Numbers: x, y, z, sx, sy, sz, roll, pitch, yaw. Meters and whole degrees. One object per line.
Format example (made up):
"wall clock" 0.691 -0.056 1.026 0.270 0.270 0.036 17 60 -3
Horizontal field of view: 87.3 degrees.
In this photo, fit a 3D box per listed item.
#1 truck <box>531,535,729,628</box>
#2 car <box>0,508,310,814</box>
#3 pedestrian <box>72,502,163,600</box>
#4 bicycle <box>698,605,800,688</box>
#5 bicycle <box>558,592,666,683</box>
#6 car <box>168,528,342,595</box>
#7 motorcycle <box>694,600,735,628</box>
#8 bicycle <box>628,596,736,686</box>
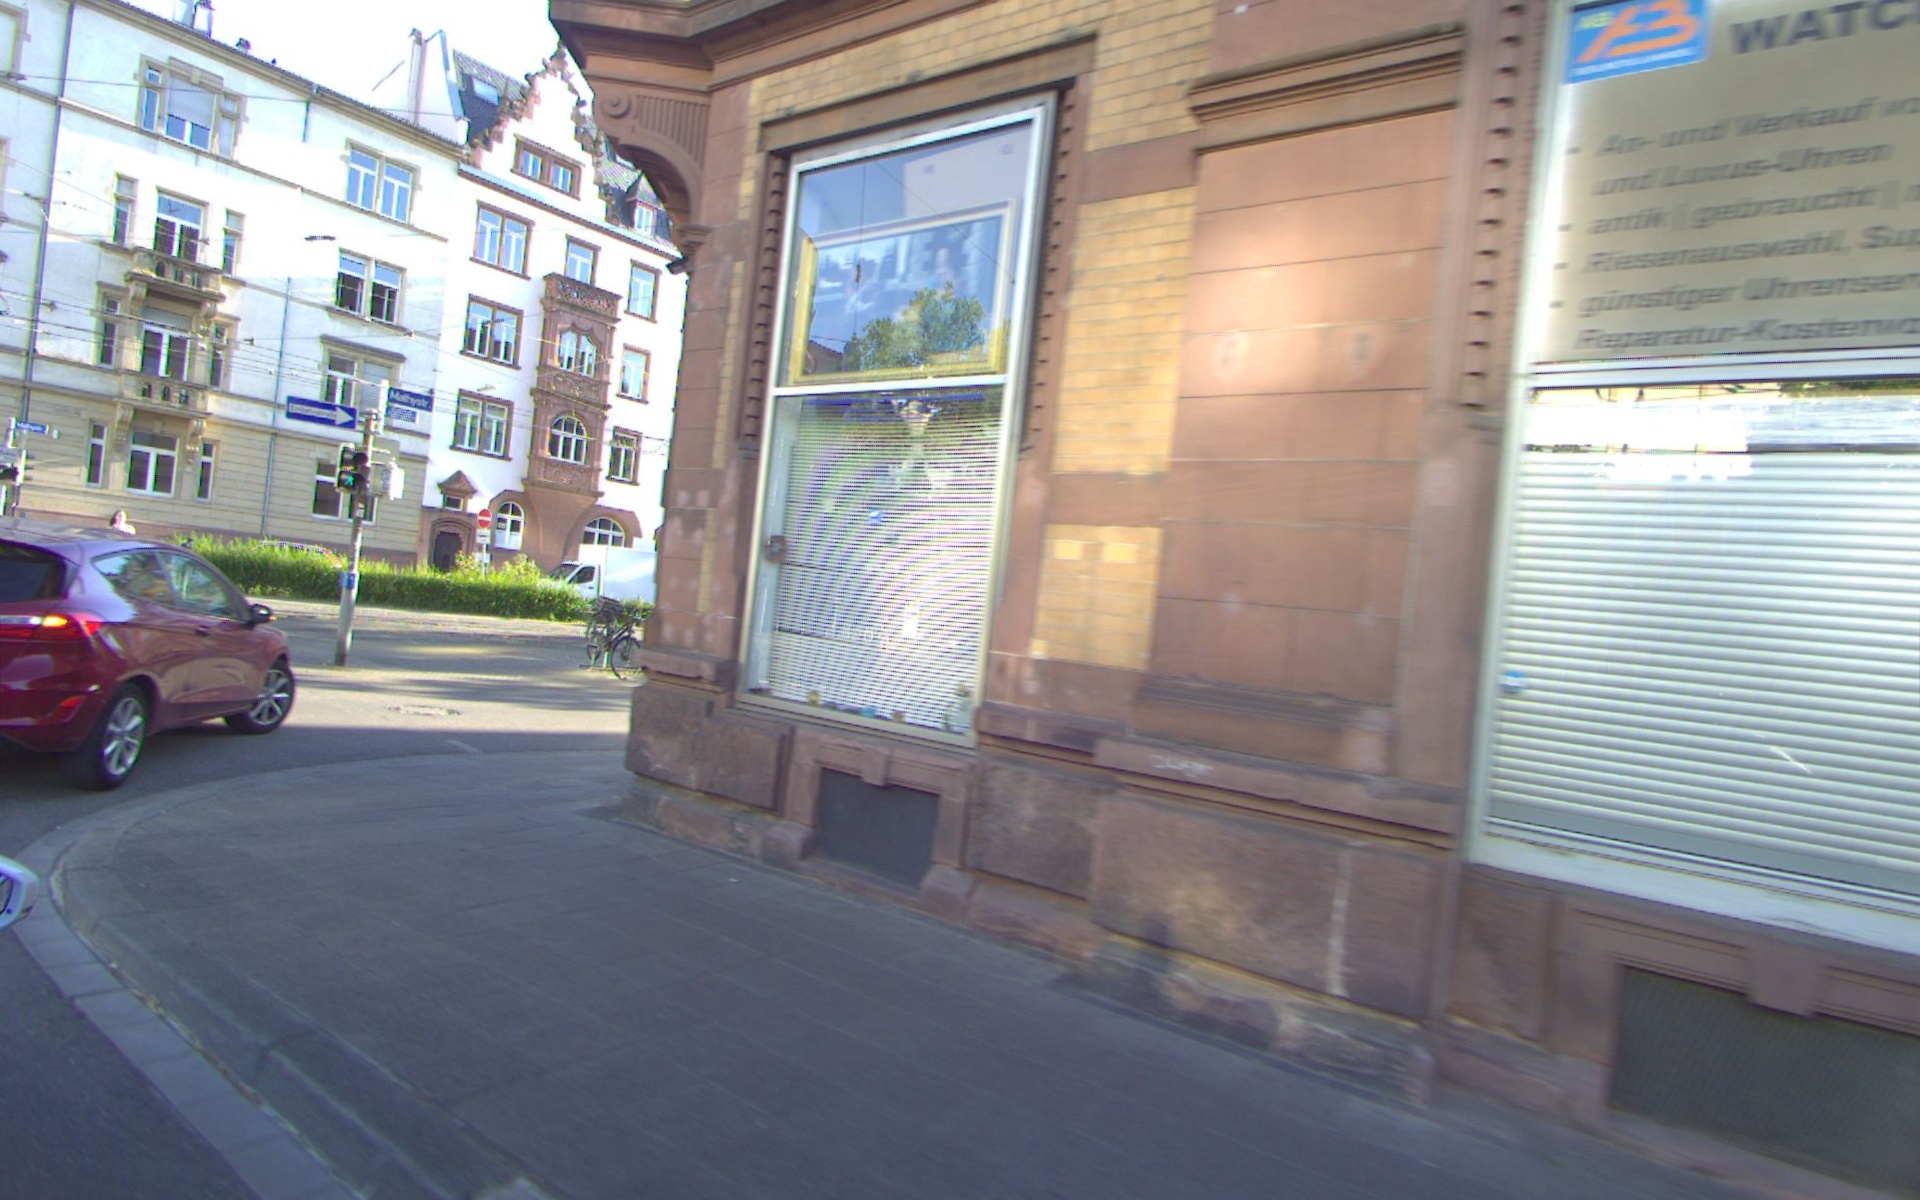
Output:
"truck" -14.090 -0.685 43.716 2.296 3.116 8.055 4 -2 38
"car" -5.856 0.229 6.593 1.673 1.512 3.568 8 -2 -18
"pedestrian" -17.208 -1.002 20.558 1.065 1.829 1.024 6 0 31
"bicycle" -4.104 0.891 19.489 1.938 1.279 0.753 10 3 39
"bicycle" -5.877 0.615 16.944 1.808 1.279 0.753 7 1 39
"car" -22.991 -1.213 32.913 1.919 1.651 4.251 4 -3 42
"motorcycle" -9.907 0.579 40.571 1.731 1.031 0.605 -2 -5 38
"bicycle" -5.000 0.722 18.017 1.938 1.279 0.753 10 3 39
